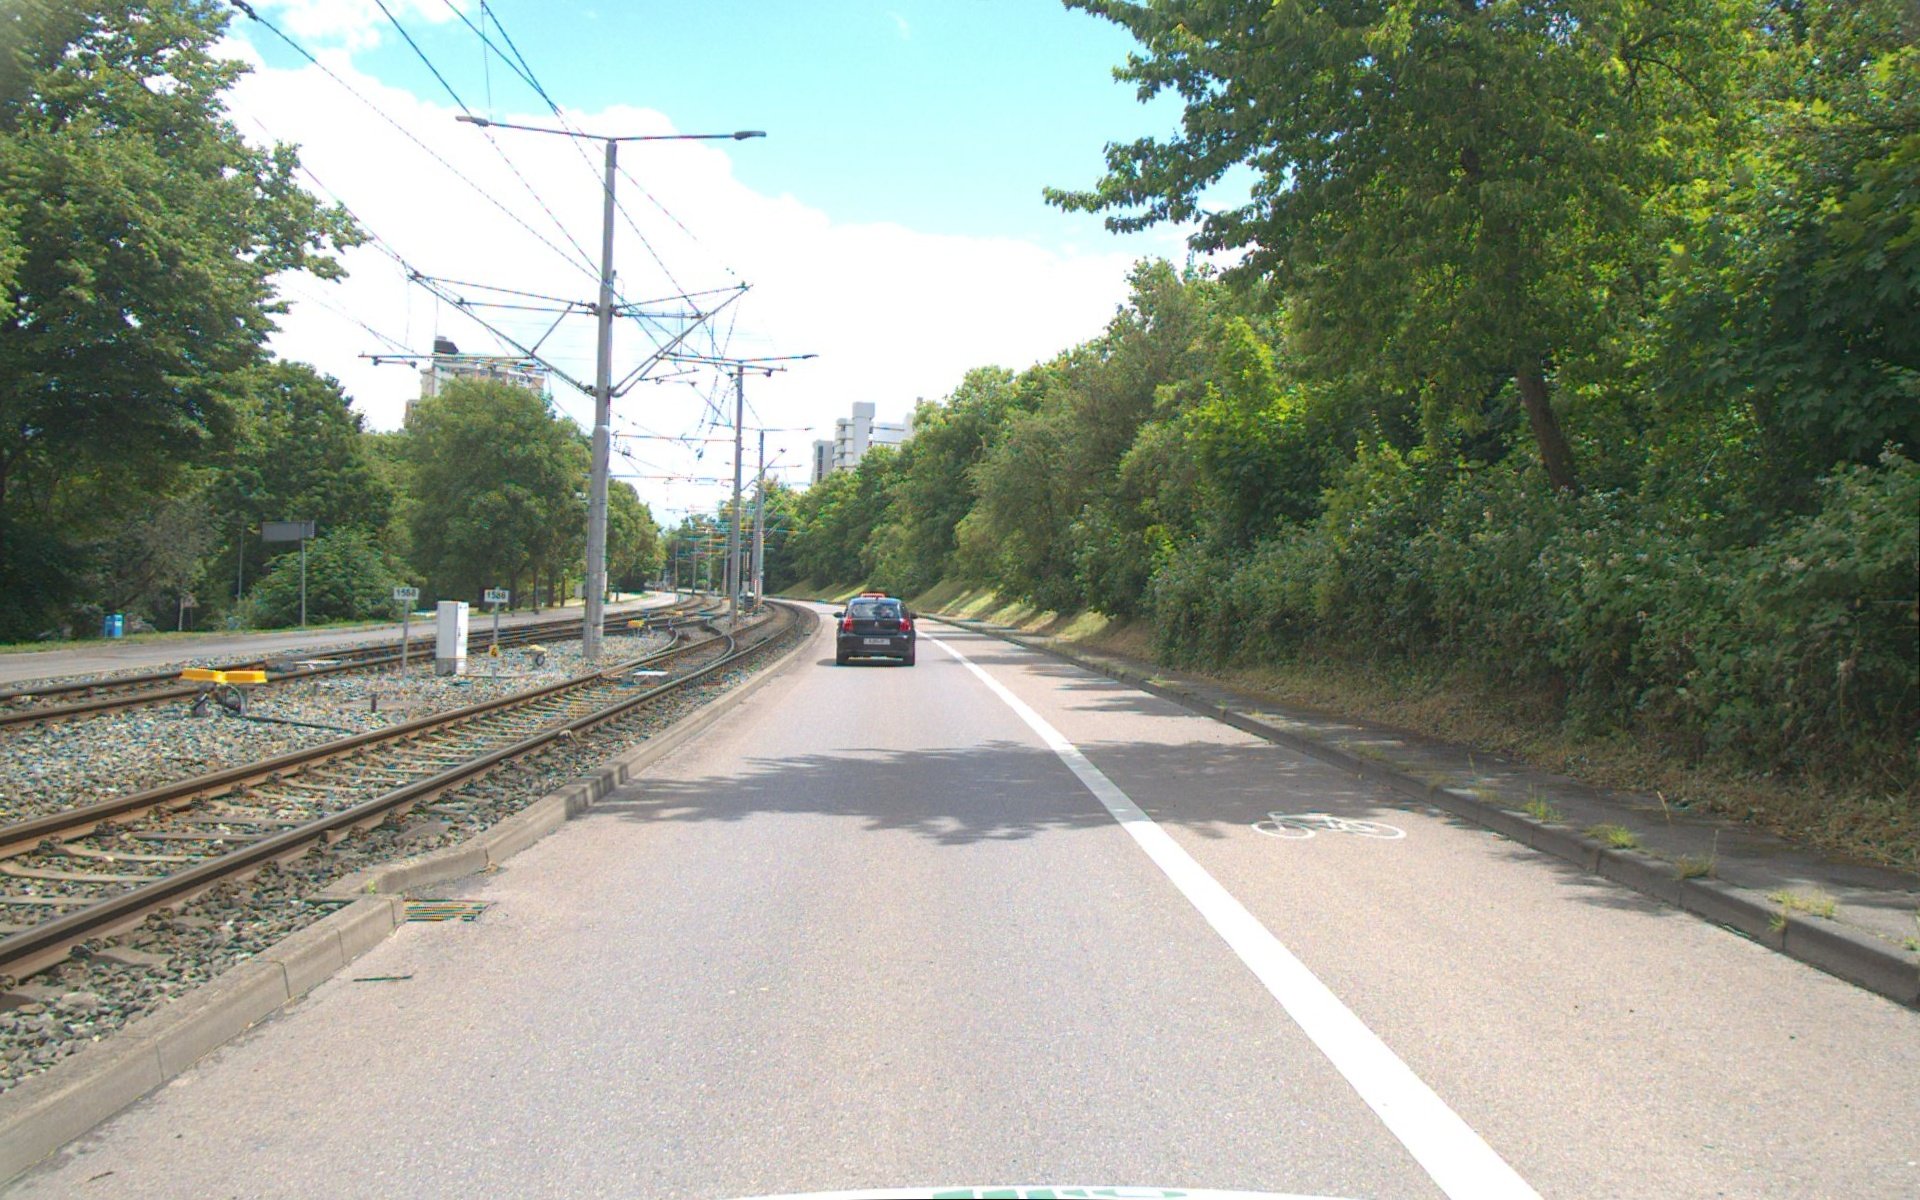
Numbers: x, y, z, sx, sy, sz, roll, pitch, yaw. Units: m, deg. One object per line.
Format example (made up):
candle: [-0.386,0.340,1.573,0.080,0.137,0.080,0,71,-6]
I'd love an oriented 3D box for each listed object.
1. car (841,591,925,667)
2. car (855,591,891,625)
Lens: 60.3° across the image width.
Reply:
car: [-1.641,0.616,36.305,1.674,1.486,3.959,3,-1,-1]
car: [-4.141,0.370,78.654,1.592,1.468,3.418,3,0,-4]
